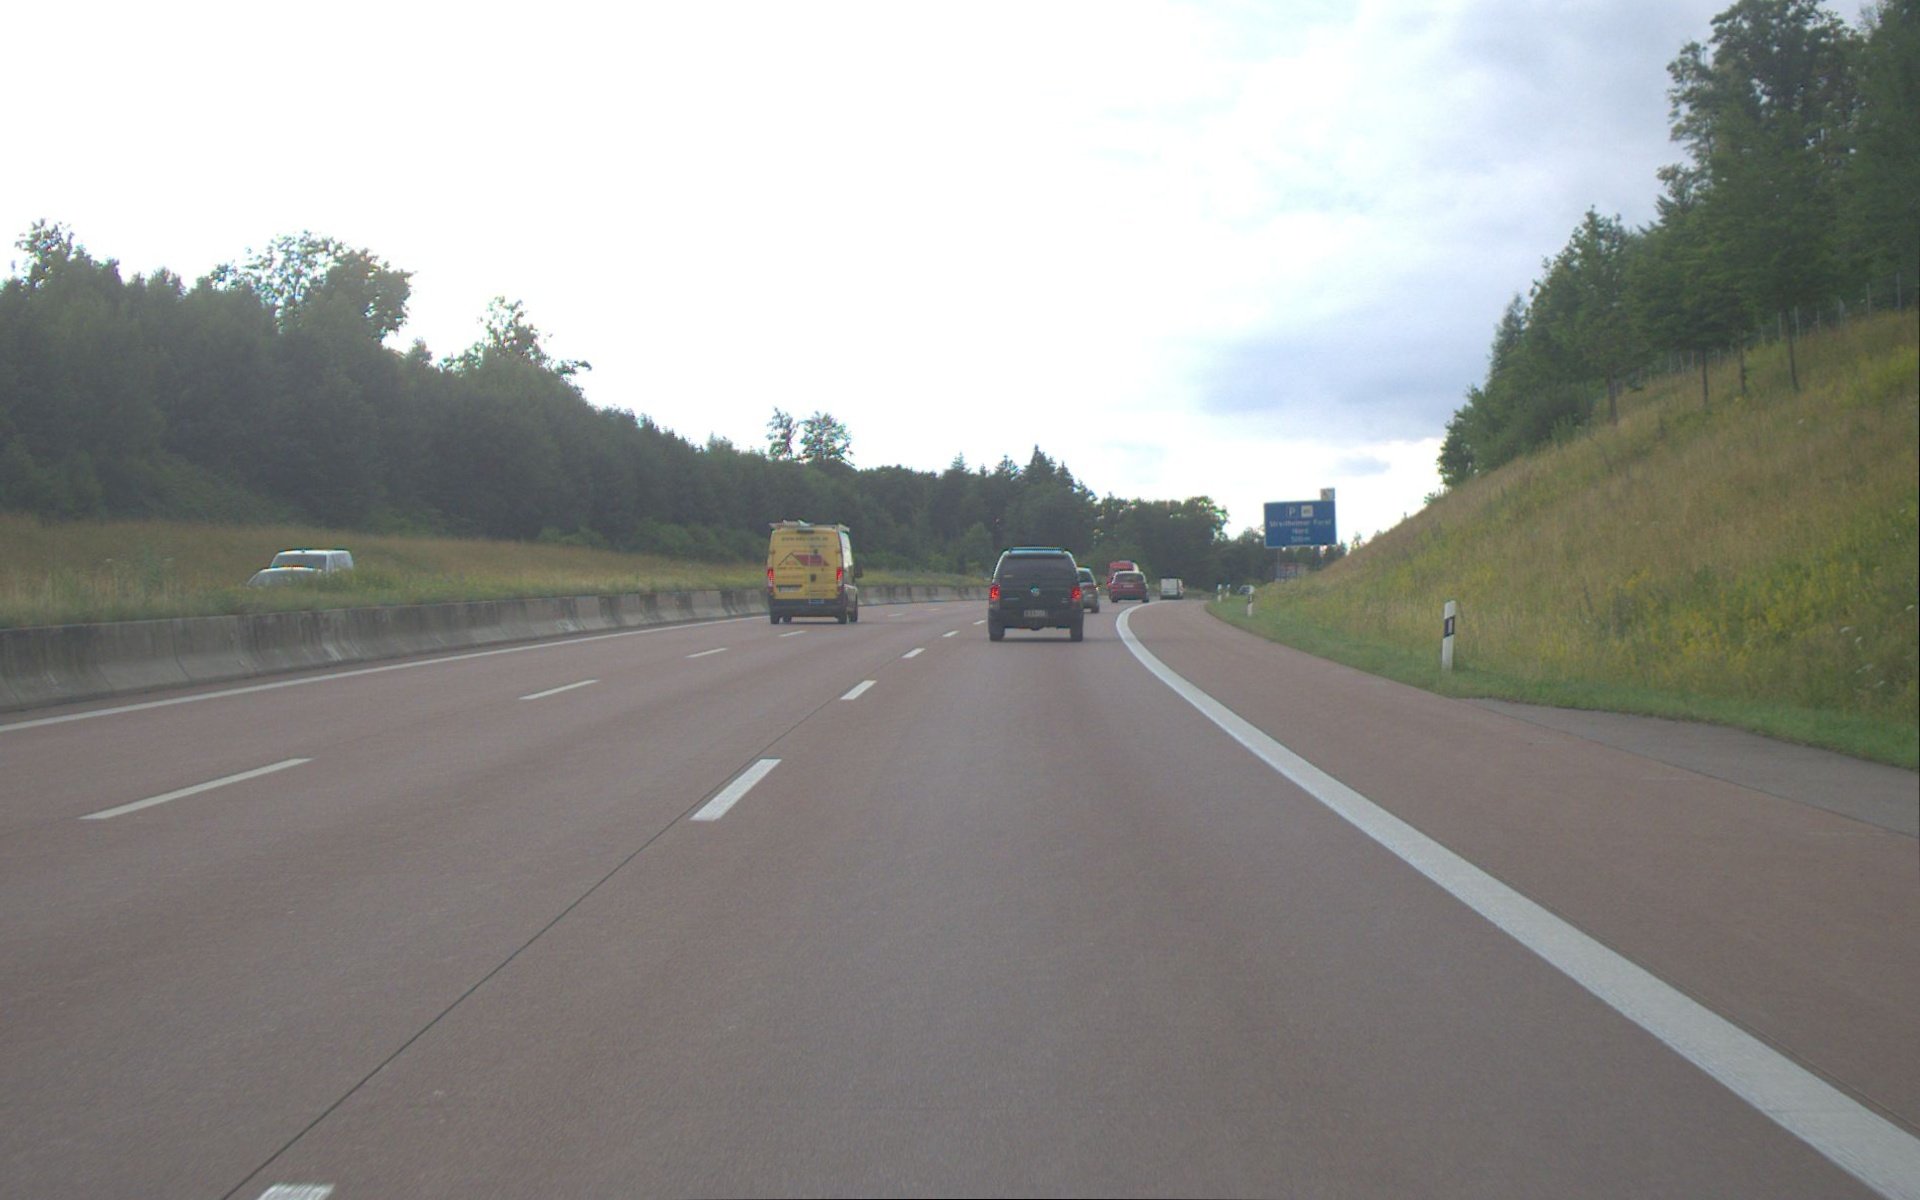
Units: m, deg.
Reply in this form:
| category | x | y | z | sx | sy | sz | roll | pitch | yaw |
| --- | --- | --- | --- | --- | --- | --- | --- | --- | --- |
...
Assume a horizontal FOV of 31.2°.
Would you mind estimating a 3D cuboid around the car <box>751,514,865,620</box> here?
| category | x | y | z | sx | sy | sz | roll | pitch | yaw |
| --- | --- | --- | --- | --- | --- | --- | --- | --- | --- |
| car | -4.053 | -0.832 | 92.510 | 2.459 | 2.697 | 5.612 | -1 | -1 | 4 |

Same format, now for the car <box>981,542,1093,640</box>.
| category | x | y | z | sx | sy | sz | roll | pitch | yaw |
| --- | --- | --- | --- | --- | --- | --- | --- | --- | --- |
| car | 1.516 | -0.140 | 69.885 | 2.044 | 1.890 | 5.577 | -1 | -1 | -1 |

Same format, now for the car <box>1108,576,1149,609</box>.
| category | x | y | z | sx | sy | sz | roll | pitch | yaw |
| --- | --- | --- | --- | --- | --- | --- | --- | --- | --- |
| car | 8.867 | -0.370 | 180.539 | 1.978 | 1.642 | 4.618 | -1 | -1 | 5 |

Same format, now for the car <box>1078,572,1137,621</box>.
| category | x | y | z | sx | sy | sz | roll | pitch | yaw |
| --- | --- | --- | --- | --- | --- | --- | --- | --- | --- |
| car | 5.101 | -0.112 | 119.368 | 1.978 | 1.642 | 4.619 | 0 | 0 | 2 |
